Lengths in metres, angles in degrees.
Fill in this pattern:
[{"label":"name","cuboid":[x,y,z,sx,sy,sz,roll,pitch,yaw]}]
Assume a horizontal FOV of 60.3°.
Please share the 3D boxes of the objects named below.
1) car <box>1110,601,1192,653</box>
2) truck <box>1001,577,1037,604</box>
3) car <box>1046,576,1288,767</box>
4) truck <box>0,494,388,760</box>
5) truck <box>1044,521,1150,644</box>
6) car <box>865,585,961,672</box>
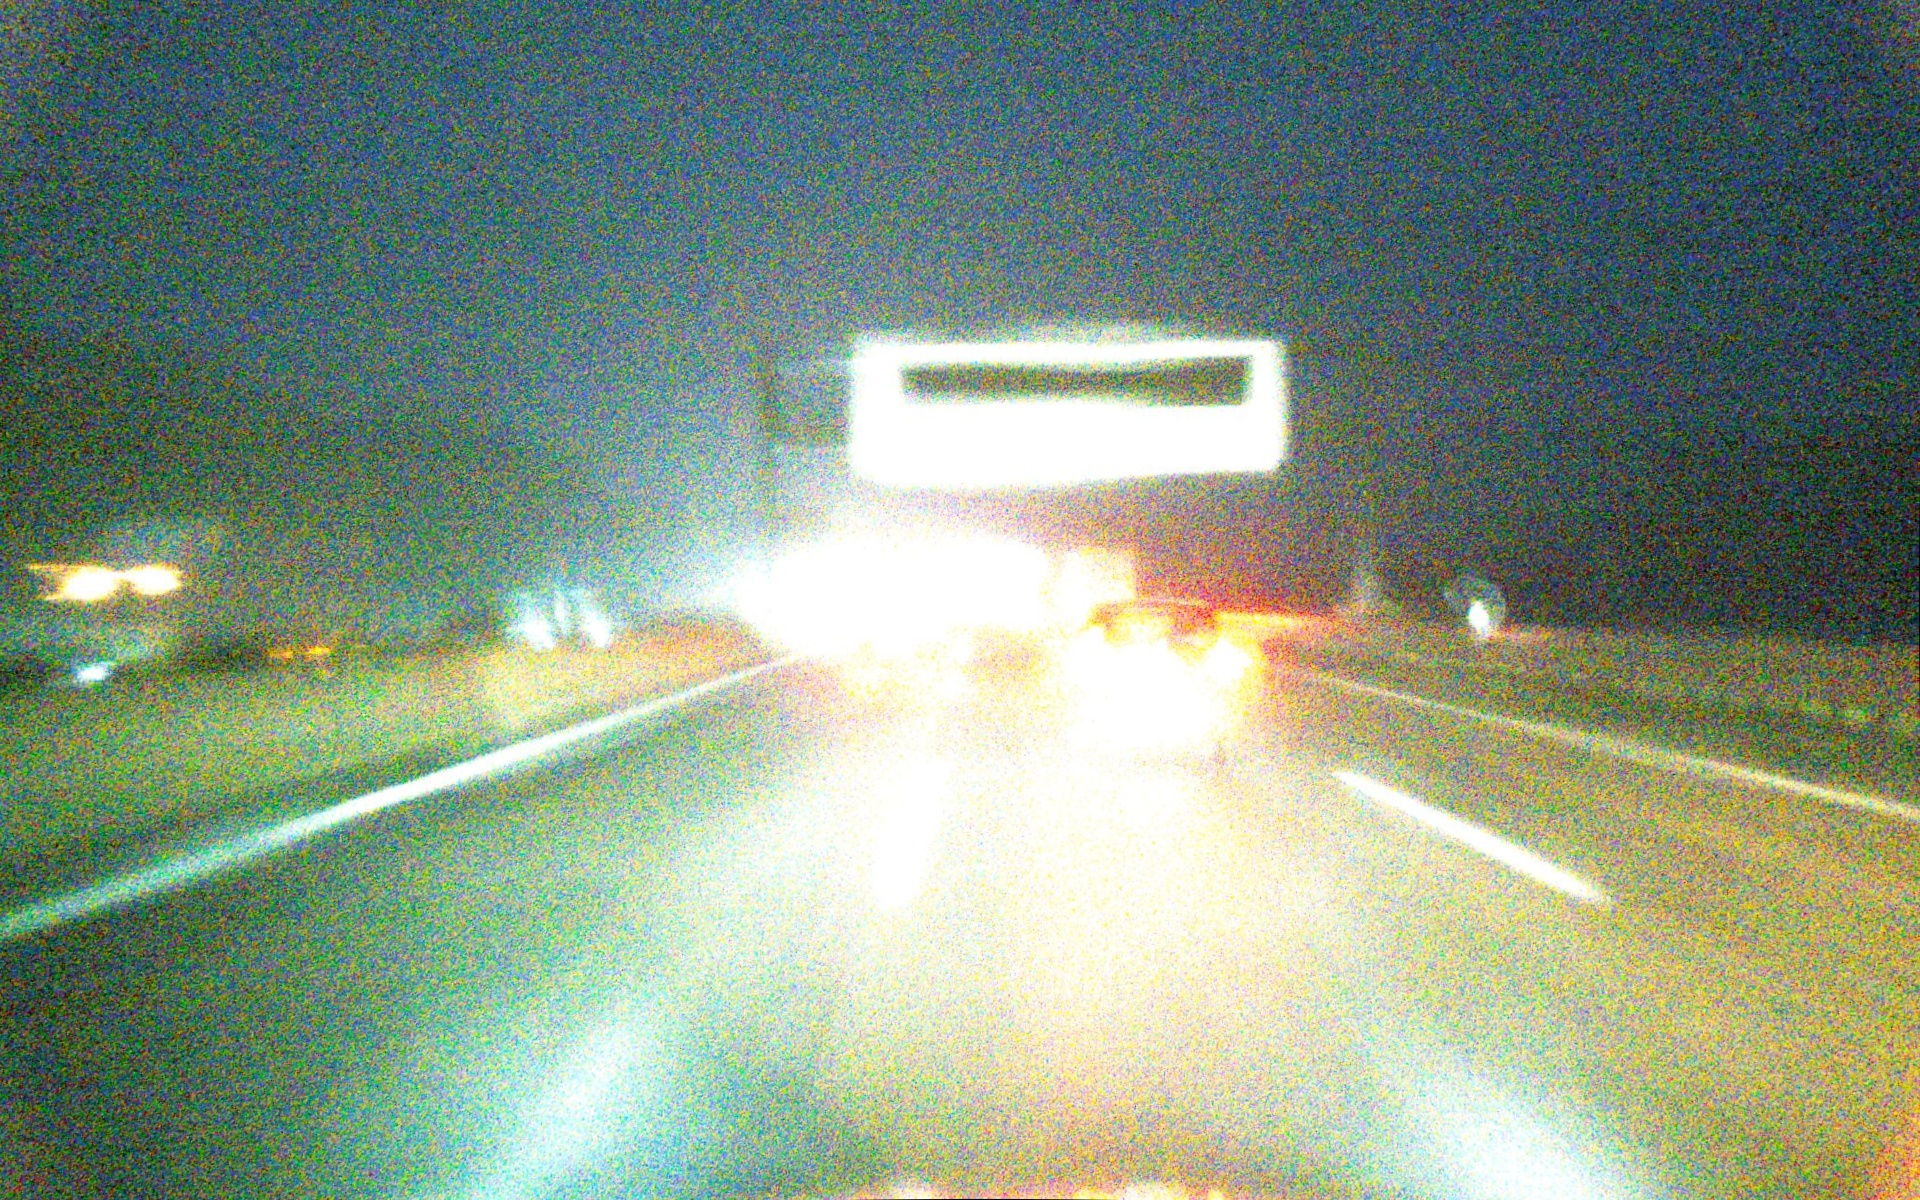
[{"label":"car","cuboid":[5.554,0.749,48.446,1.851,1.378,3.999,2,0,-1]},{"label":"truck","cuboid":[7.088,-1.090,201.142,3.757,3.108,11.003,1,0,-1]},{"label":"car","cuboid":[1.947,0.630,16.780,1.877,1.622,4.233,-2,0,0]},{"label":"truck","cuboid":[-18.654,0.536,41.796,3.763,5.641,12.212,2,0,1]},{"label":"truck","cuboid":[6.791,-0.840,84.464,4.082,5.641,13.073,-2,0,0]},{"label":"car","cuboid":[-1.012,0.618,38.131,1.953,1.808,4.887,-2,0,0]}]
